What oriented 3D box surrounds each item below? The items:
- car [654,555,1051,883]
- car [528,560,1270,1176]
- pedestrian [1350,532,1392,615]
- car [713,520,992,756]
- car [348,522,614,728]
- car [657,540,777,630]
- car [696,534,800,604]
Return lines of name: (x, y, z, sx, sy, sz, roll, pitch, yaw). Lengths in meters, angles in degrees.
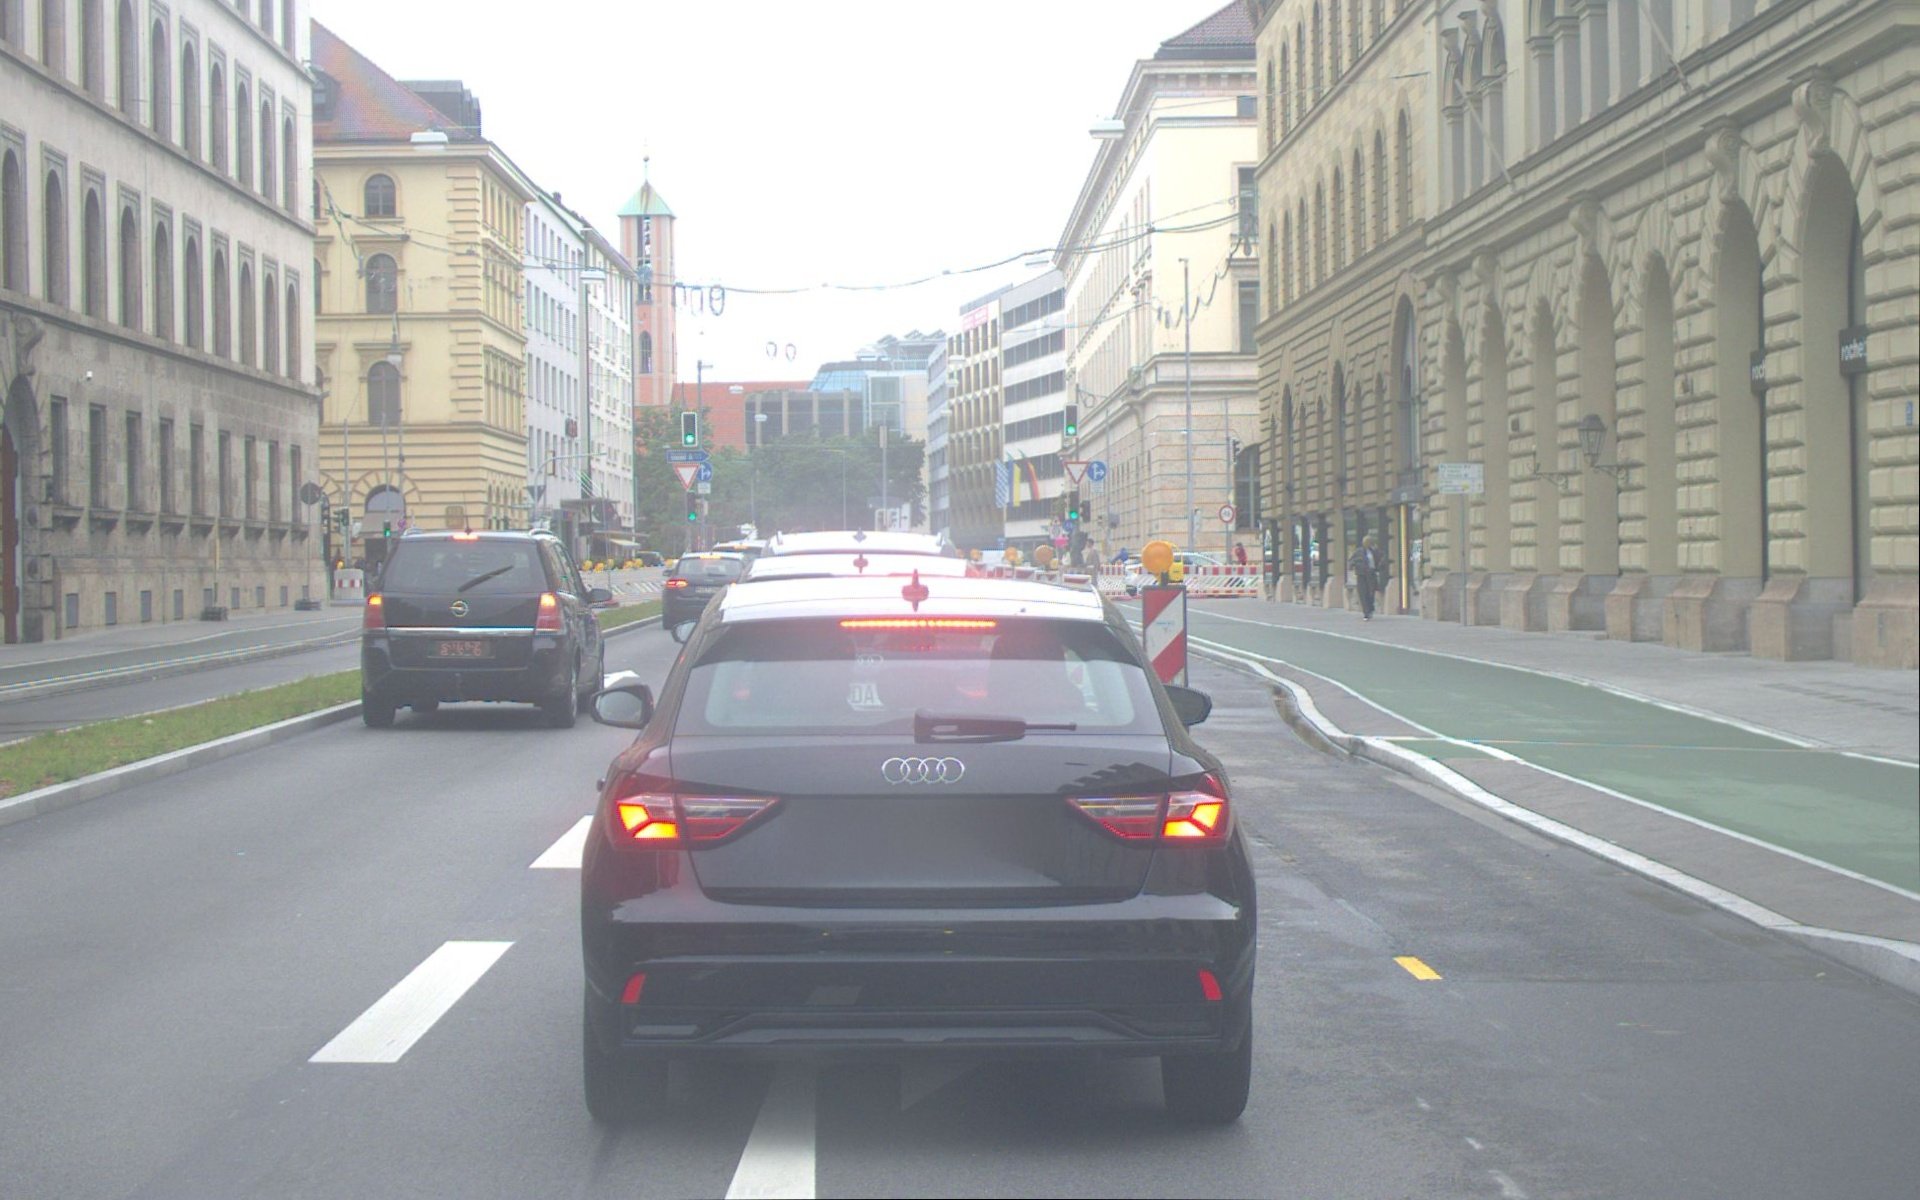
car: (-0.512, 0.500, 17.162, 1.730, 1.398, 4.000, 1, 1, -1)
car: (-0.180, 0.611, 10.096, 1.730, 1.398, 4.000, 1, 1, -1)
pedestrian: (8.124, -0.526, 67.990, 0.710, 1.612, 0.754, -1, 1, -1)
car: (-0.709, 0.200, 23.565, 1.730, 1.456, 4.000, 1, 1, -1)
car: (-3.999, 0.161, 29.267, 1.764, 1.610, 4.030, 1, 1, -1)
car: (-4.504, -0.307, 64.200, 1.993, 1.622, 4.000, 0, 1, -1)
car: (-4.506, -0.688, 73.519, 1.993, 1.439, 4.000, 0, 1, -1)
